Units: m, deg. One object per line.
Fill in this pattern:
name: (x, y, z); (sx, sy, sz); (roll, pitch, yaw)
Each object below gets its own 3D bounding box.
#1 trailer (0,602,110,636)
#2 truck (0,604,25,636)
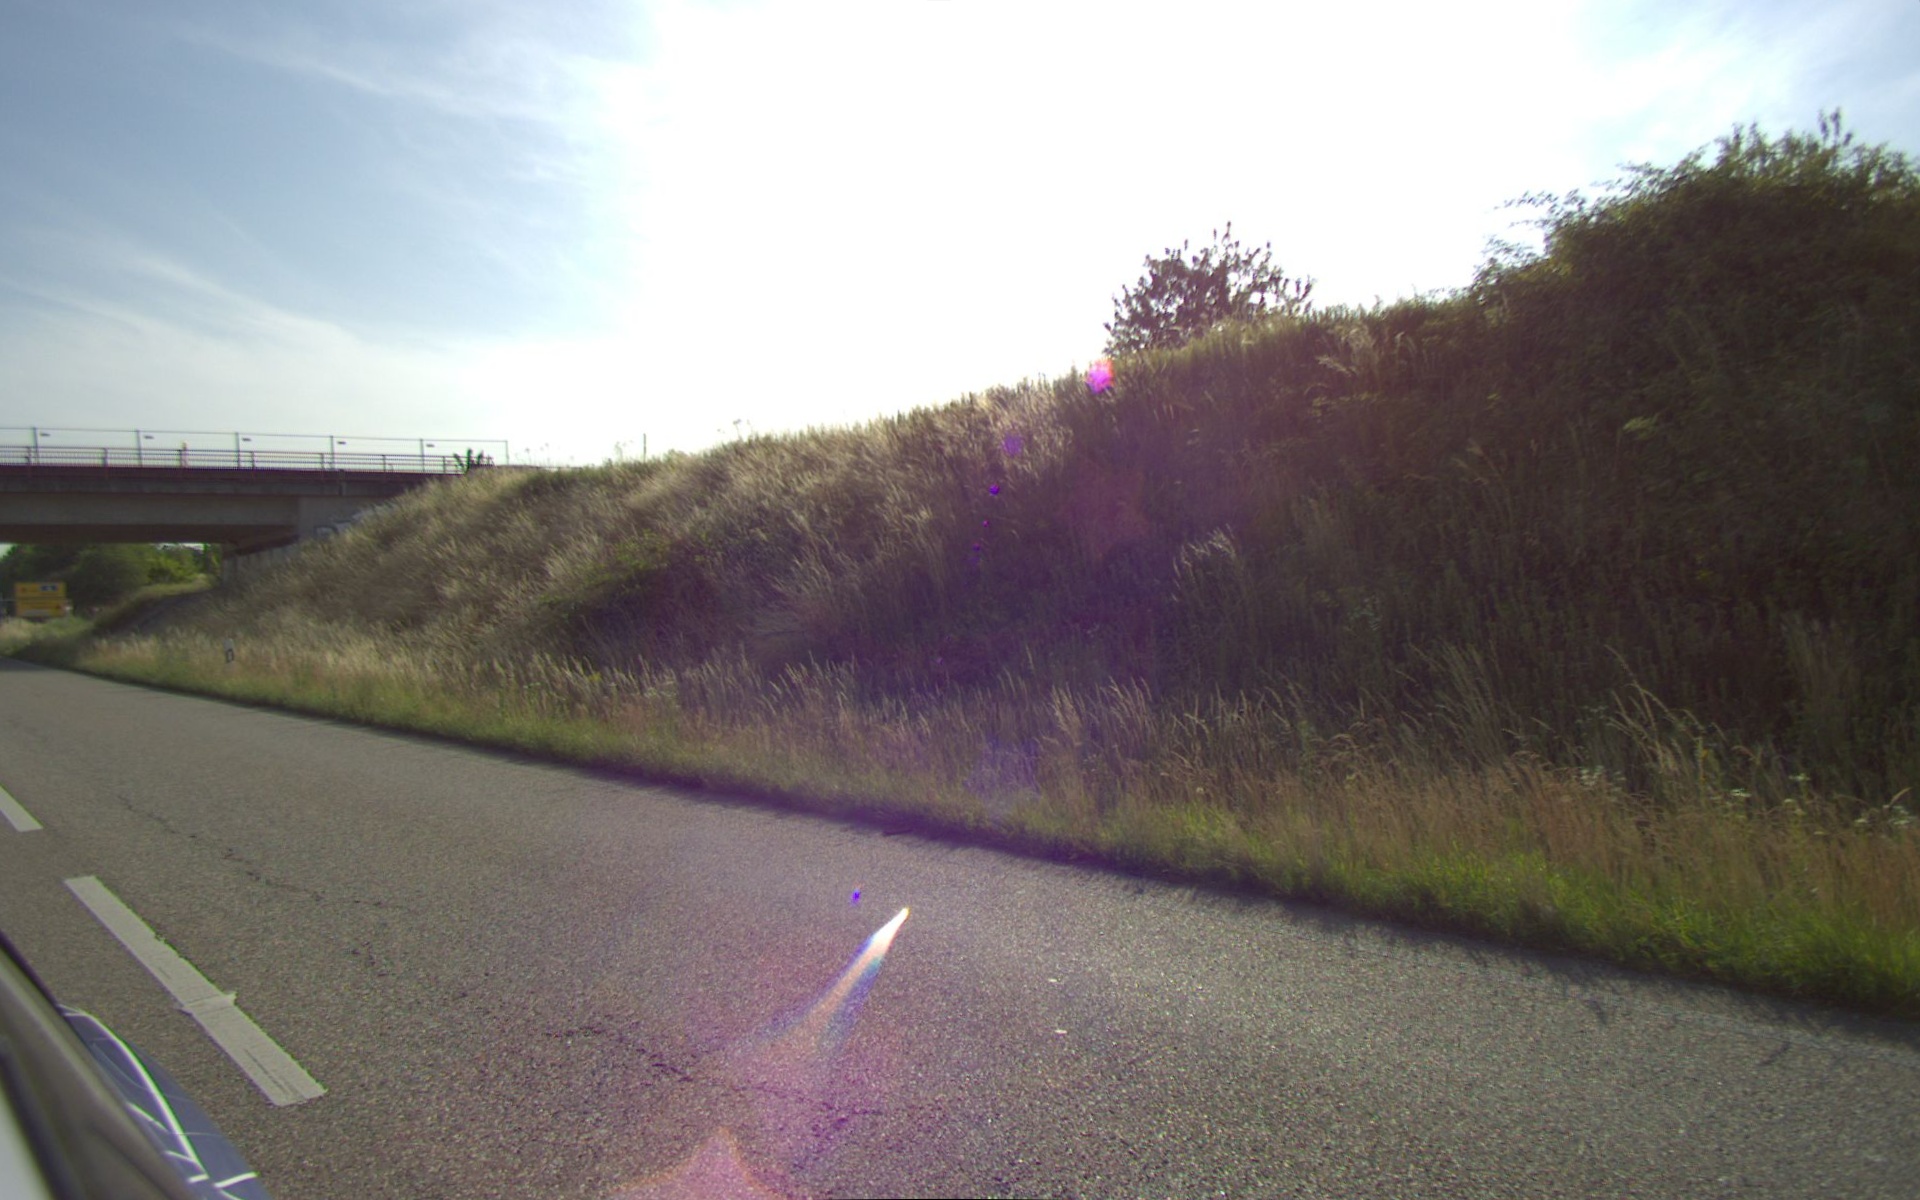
trailer: (-120.265, 2.502, 132.203); (13.560, 4.144, 3.571); (-1, 0, -23)
truck: (-126.068, 2.633, 129.810); (8.255, 4.144, 3.571); (-1, 0, -23)
